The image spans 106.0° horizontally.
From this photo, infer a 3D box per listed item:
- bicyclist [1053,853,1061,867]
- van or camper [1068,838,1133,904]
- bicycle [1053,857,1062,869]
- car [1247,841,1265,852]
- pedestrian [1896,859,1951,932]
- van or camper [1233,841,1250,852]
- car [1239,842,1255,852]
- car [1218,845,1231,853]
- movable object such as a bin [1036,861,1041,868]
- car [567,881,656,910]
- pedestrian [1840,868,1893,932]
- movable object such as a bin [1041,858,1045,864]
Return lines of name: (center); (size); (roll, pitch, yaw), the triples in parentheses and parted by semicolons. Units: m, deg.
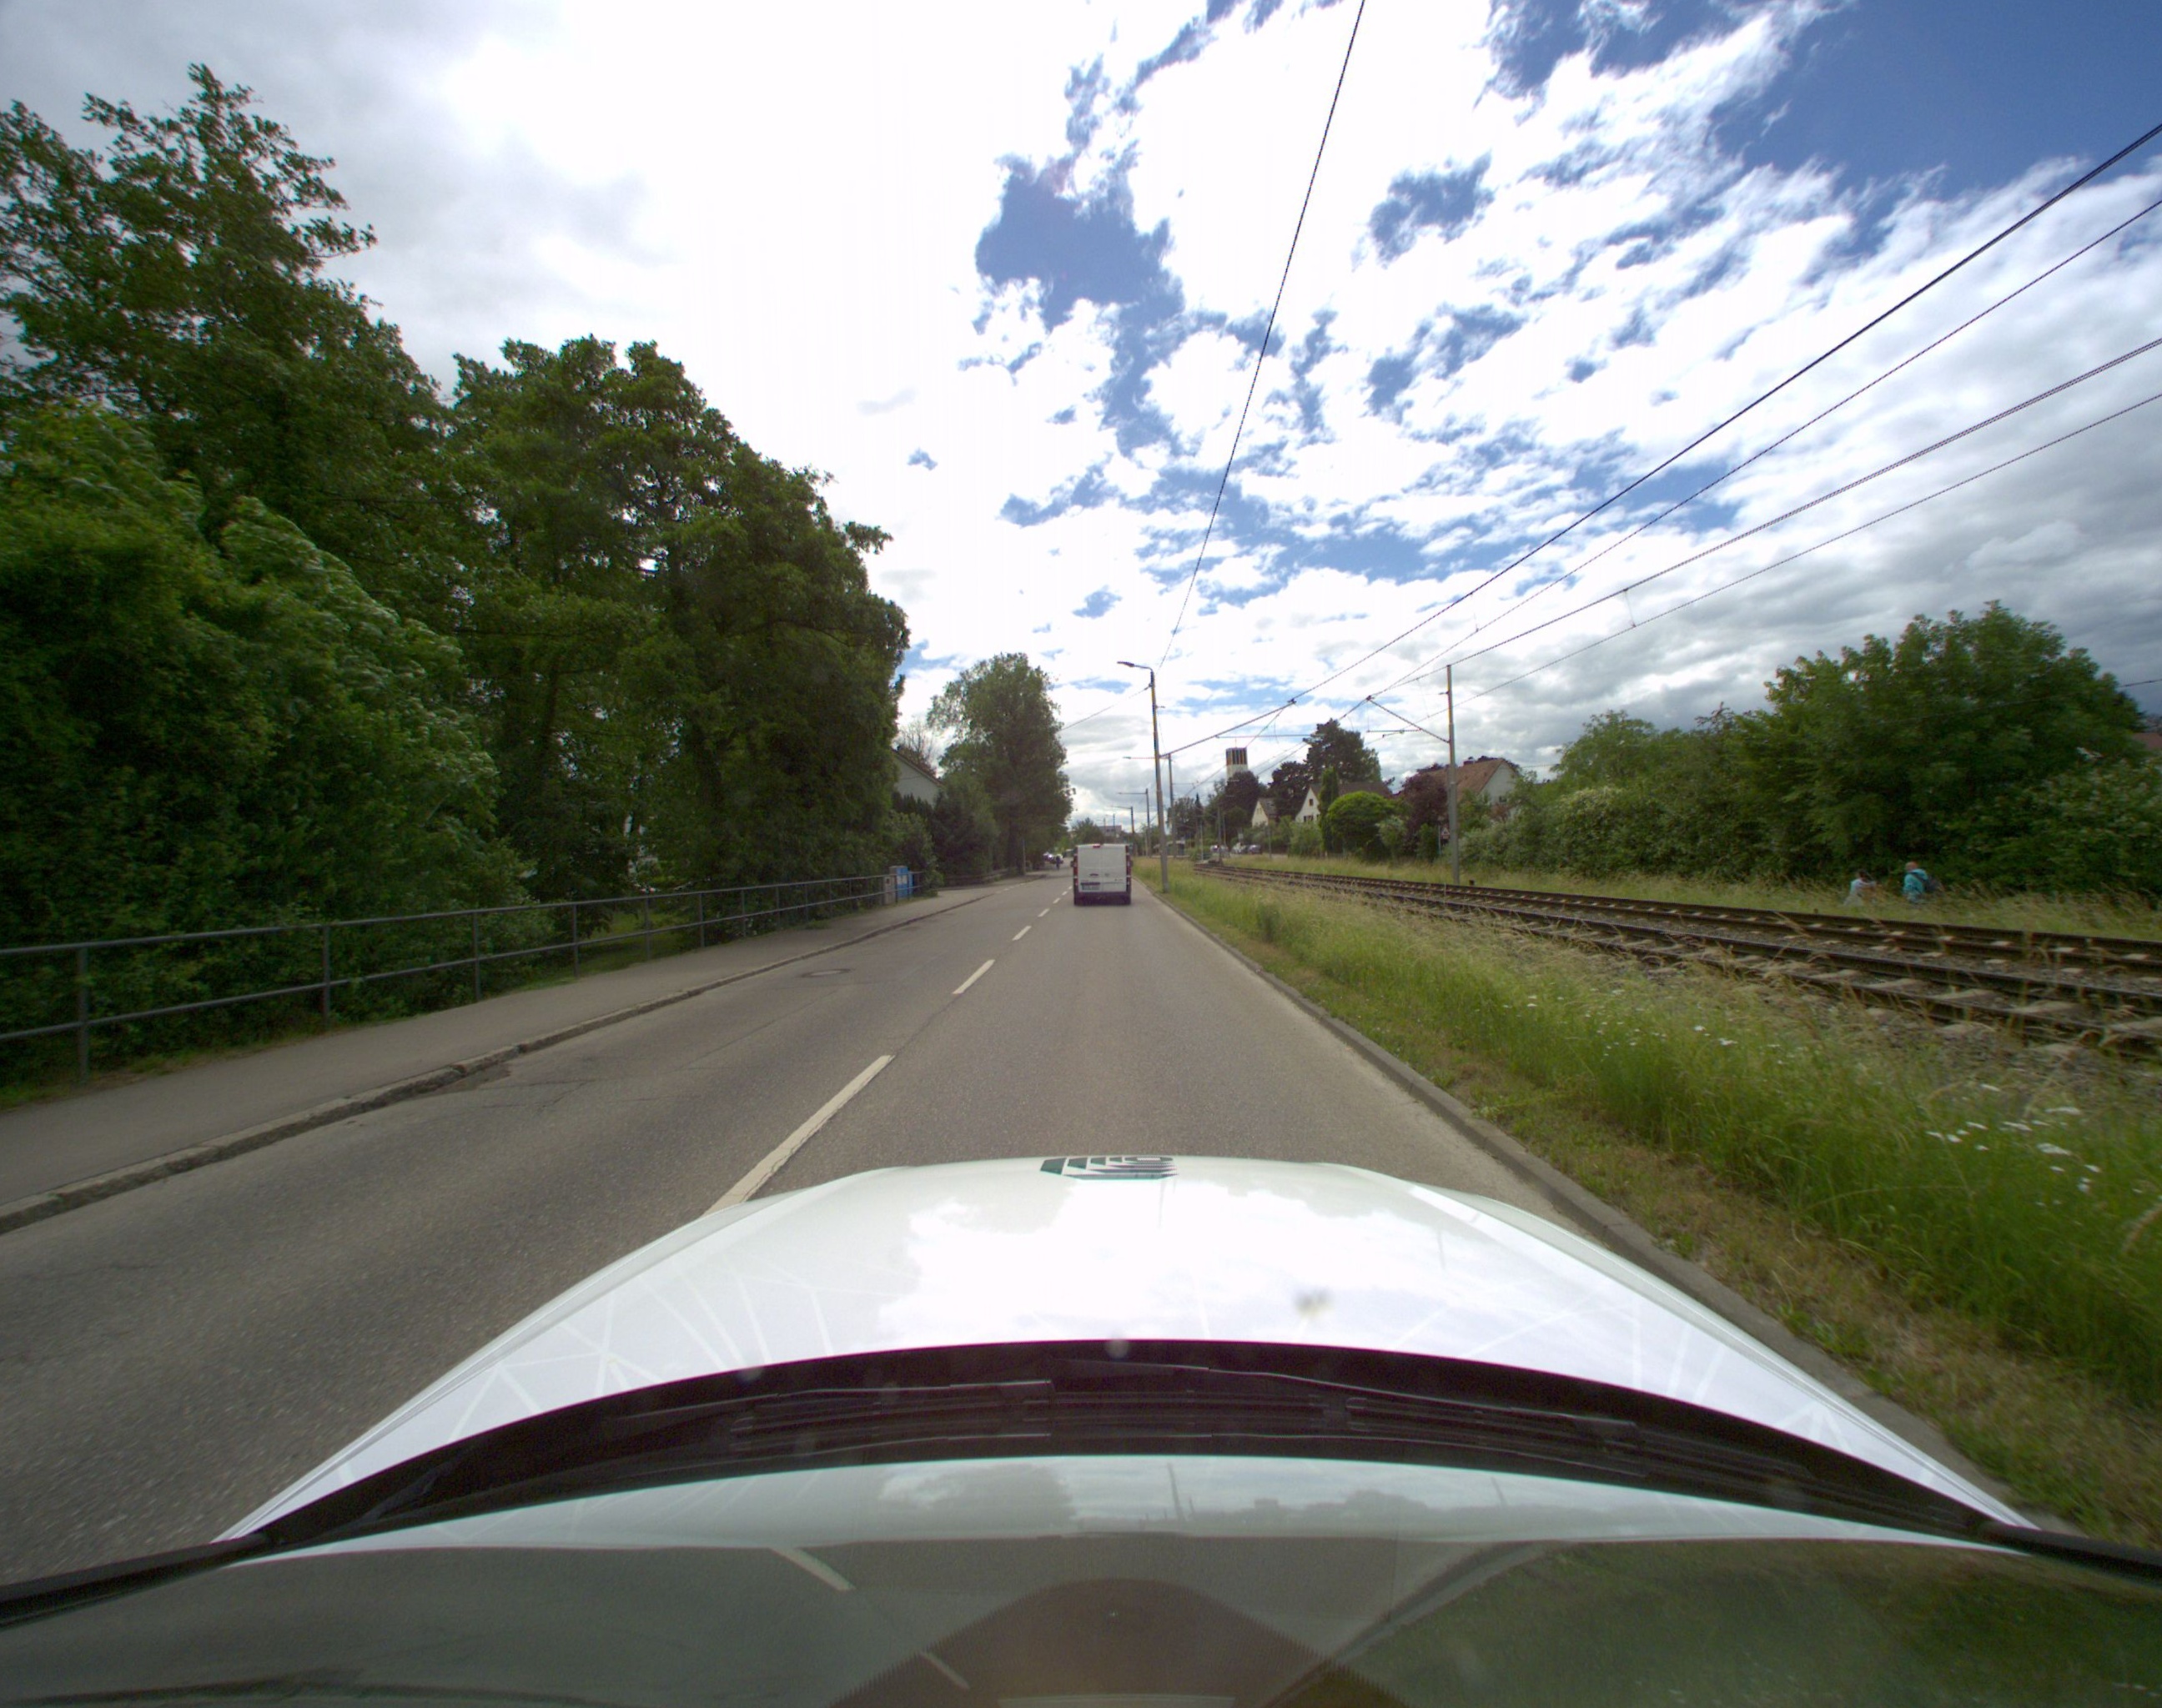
bicyclist: (-2.766, 0.675, 94.094); (0.775, 1.549, 0.870); (-3, 0, 1)
van or camper: (0.682, 0.541, 27.526); (1.986, 2.014, 4.447); (-1, 0, 2)
bicycle: (-2.707, 1.043, 94.168); (0.752, 1.226, 2.309); (-4, 0, 1)
car: (26.465, -1.073, 123.276); (1.876, 1.522, 4.002); (-3, 0, 2)
pedestrian: (19.141, 0.925, 18.512); (0.614, 1.622, 0.584); (-1, 0, 1)
van or camper: (26.431, -1.216, 134.193); (1.898, 1.826, 5.050); (-3, 0, 2)
car: (26.319, -1.047, 129.394); (1.876, 1.522, 4.002); (-3, 0, 2)
car: (27.358, -0.942, 155.815); (1.876, 1.522, 4.002); (-3, 0, 2)
movable object such as a bin: (-5.159, 1.274, 99.185); (0.512, 0.945, 0.568); (-2, 0, 0)
car: (-27.106, 2.381, 47.073); (3.966, 1.479, 1.960); (-2, 0, 6)
pedestrian: (17.980, 1.047, 18.650); (0.594, 1.430, 0.668); (-1, 0, 10)
movable object such as a bin: (-5.889, 1.034, 126.771); (0.463, 0.930, 0.428); (1, -1, -16)
